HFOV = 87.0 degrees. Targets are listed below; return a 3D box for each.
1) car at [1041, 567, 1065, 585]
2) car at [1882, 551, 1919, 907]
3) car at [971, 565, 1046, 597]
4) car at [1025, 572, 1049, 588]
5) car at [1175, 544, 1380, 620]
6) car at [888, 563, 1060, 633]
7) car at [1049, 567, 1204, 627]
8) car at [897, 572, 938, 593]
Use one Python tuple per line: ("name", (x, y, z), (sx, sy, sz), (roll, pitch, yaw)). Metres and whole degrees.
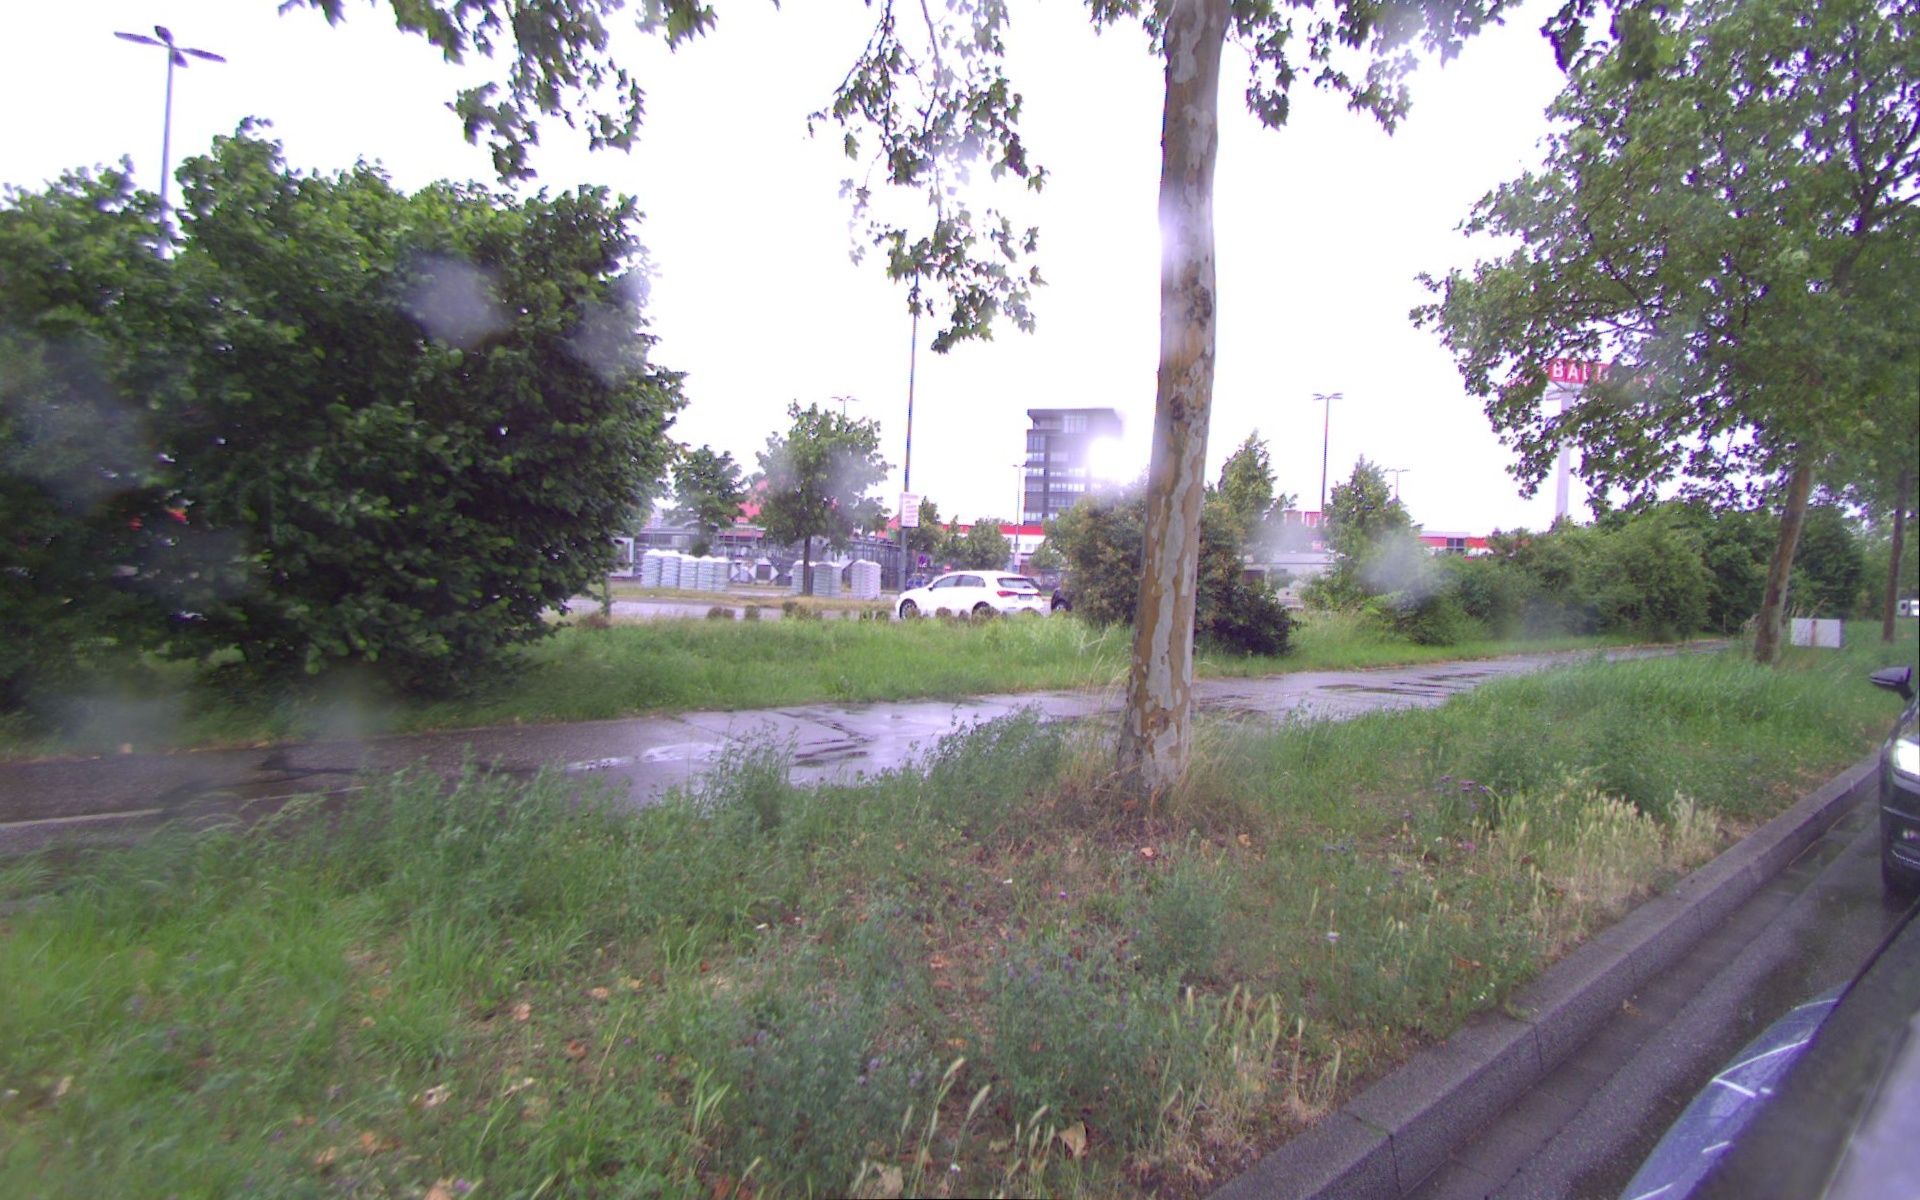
("car", (9.003, -2.331, 98.090), (1.970, 1.697, 4.263), (2, 2, 9))
("car", (6.557, 0.586, 5.612), (4.548, 1.625, 1.768), (0, 0, -43))
("car", (2.739, -1.038, 56.327), (3.937, 1.749, 1.885), (0, 0, 12))
("car", (8.503, -2.270, 111.896), (1.973, 1.697, 4.257), (2, 2, 13))
("car", (10.954, -0.694, 35.281), (6.399, 2.392, 2.357), (3, 2, 41))
("car", (0.287, -0.102, 25.937), (1.899, 1.571, 4.262), (0, 2, -45))
("car", (4.929, -0.143, 30.292), (1.899, 1.571, 4.262), (0, 2, -45))
("car", (-3.291, -1.393, 79.227), (1.905, 1.571, 4.249), (2, 2, 18))
